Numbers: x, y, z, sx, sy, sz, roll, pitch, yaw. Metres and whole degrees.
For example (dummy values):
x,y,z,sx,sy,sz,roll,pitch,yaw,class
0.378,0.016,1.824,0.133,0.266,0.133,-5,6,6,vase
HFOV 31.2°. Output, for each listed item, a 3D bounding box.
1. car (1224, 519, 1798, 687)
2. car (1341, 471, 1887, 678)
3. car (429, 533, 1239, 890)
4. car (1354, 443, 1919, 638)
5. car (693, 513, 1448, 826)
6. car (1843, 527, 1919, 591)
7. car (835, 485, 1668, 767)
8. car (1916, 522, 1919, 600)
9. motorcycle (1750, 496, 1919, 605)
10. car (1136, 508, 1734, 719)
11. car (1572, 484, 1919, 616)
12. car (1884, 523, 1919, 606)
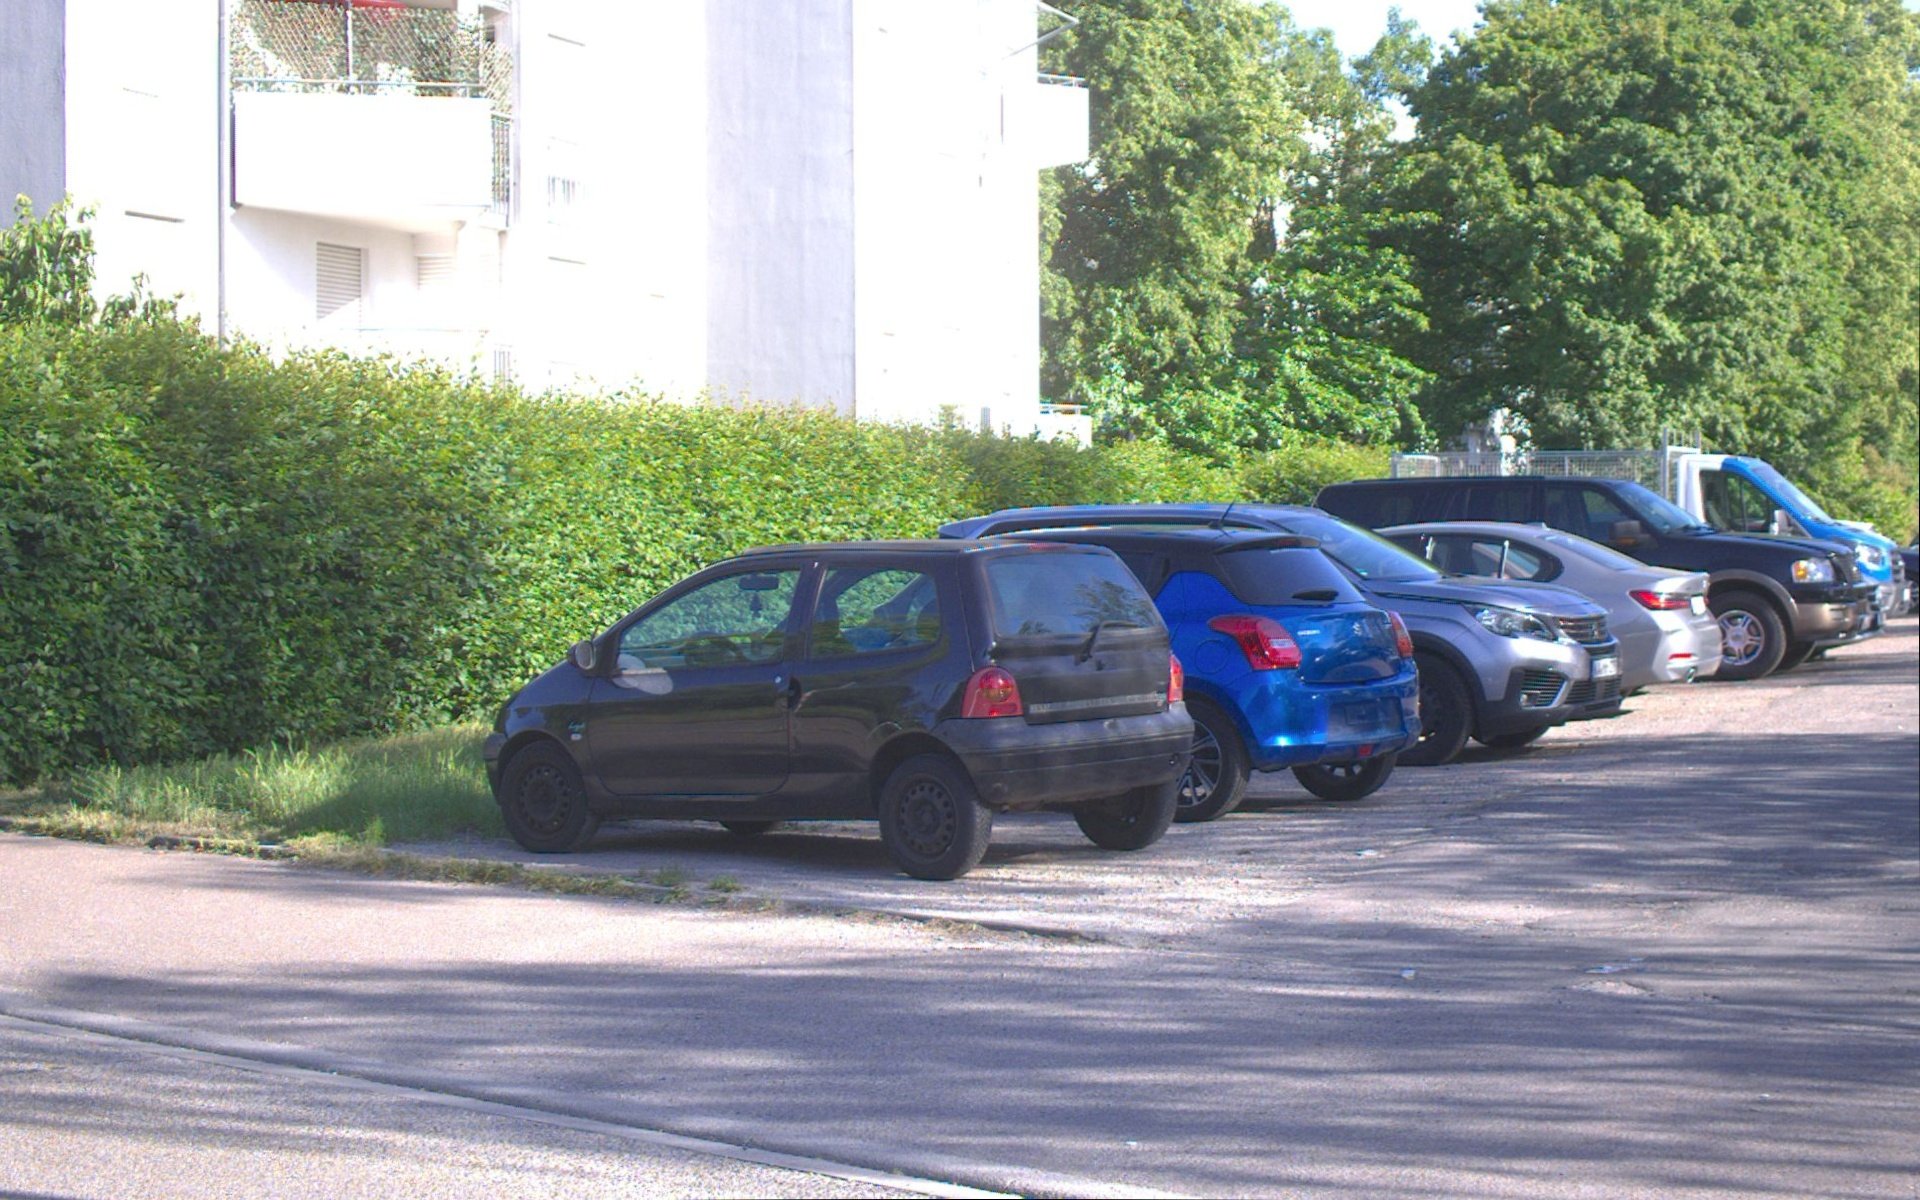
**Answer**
x,y,z,sx,sy,sz,roll,pitch,yaw,class
4.647,0.003,29.037,4.457,1.330,1.845,0,1,25,car
5.926,-0.243,31.231,4.529,1.765,1.844,0,1,27,car
-0.639,0.429,16.068,3.530,1.461,1.700,1,2,39,car
7.929,-0.680,39.927,6.262,2.139,2.408,0,1,20,car
0.544,0.333,18.271,3.687,1.491,1.648,-1,1,35,car
20.927,-0.879,73.172,3.944,1.329,1.845,0,1,22,car
1.826,0.157,22.071,4.999,1.649,1.782,-1,1,28,car
18.465,-0.684,58.702,3.944,1.329,1.845,0,1,22,car
13.454,-0.736,51.168,3.195,1.590,0.922,0,1,24,motorcycle
3.552,0.105,25.683,4.147,1.450,1.618,-1,1,20,car
10.945,-0.686,47.689,4.528,1.765,1.845,0,1,23,car
17.224,-0.595,56.103,3.944,1.329,1.845,0,1,22,car
